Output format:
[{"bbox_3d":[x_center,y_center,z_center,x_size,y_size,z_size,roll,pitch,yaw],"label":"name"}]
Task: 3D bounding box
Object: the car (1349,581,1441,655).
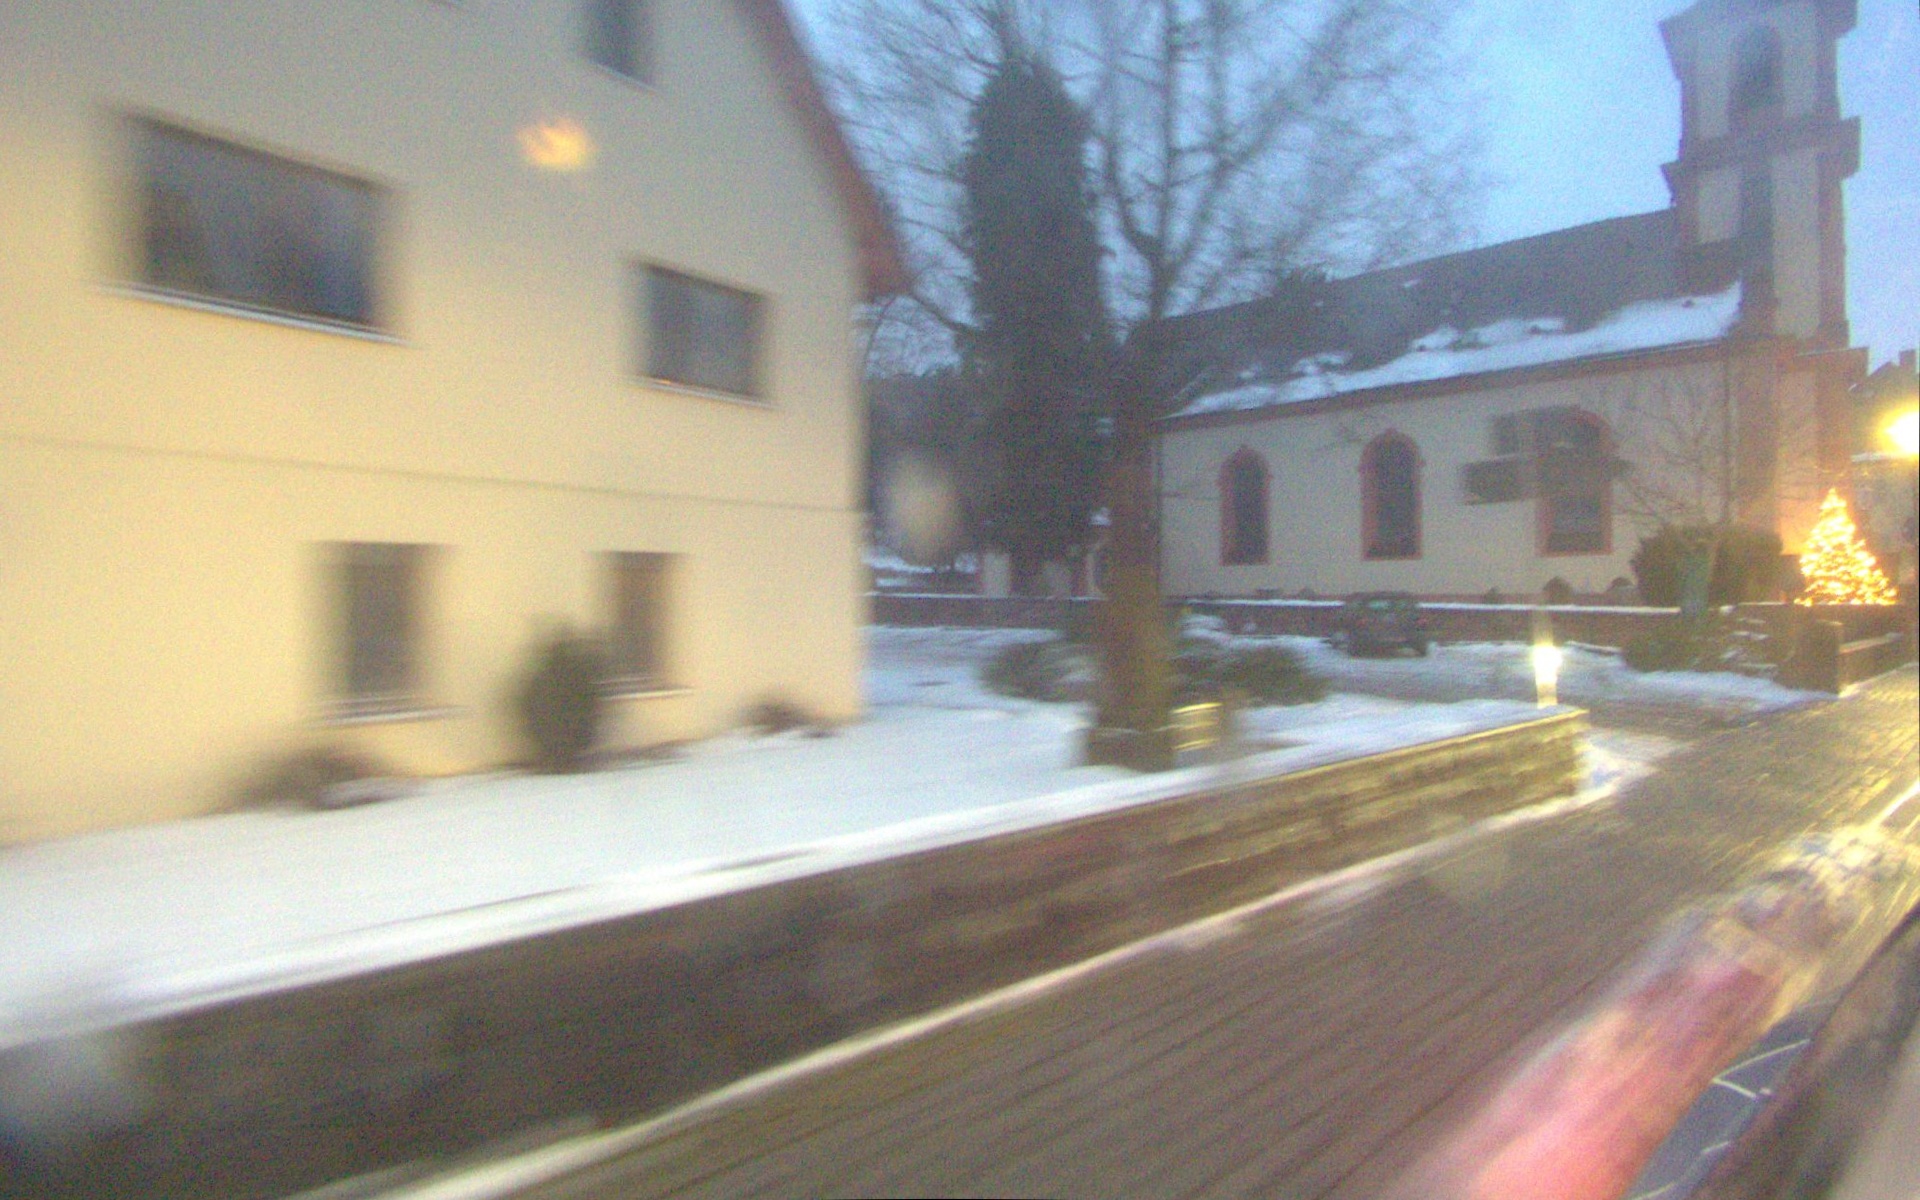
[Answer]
[{"bbox_3d":[9.872,0.332,23.209,1.735,1.430,4.055,1,3,21],"label":"car"}]
